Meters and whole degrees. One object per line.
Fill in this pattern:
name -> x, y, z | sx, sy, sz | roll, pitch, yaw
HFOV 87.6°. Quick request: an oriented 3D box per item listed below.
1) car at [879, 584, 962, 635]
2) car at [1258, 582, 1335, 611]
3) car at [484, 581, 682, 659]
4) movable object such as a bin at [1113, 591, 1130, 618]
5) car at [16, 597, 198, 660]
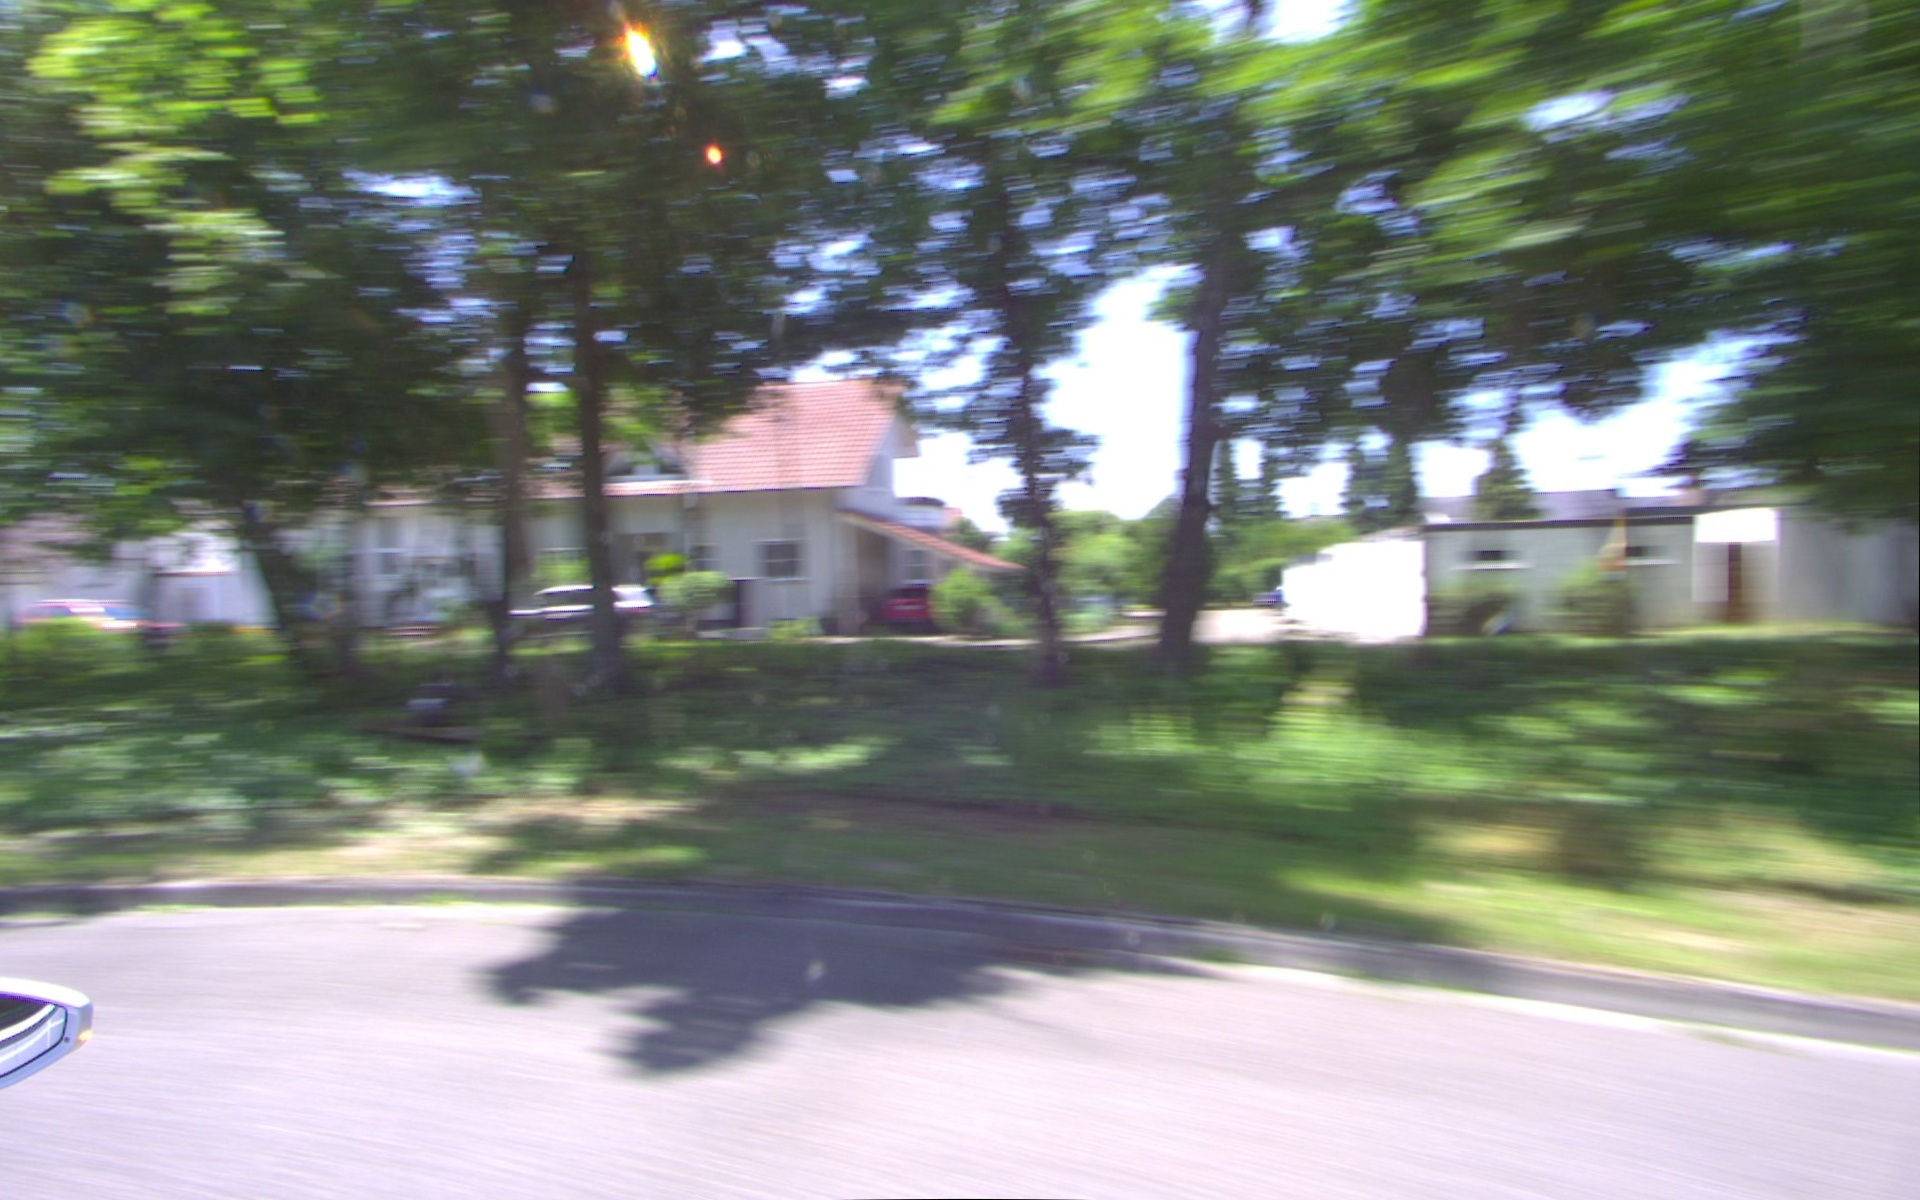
car -> -1.138, 0.242, 30.296 | 1.653, 1.404, 3.690 | -1, 1, 12
car -> 15.996, -0.170, 47.655 | 3.216, 1.270, 1.572 | -1, 1, 8
car -> -8.897, 0.464, 23.770 | 4.064, 1.728, 1.665 | -1, 1, 8
movable object such as a bin -> 6.758, 0.177, 41.871 | 0.646, 1.127, 0.457 | -1, 2, 8
car -> -23.085, 0.763, 27.140 | 3.951, 1.623, 1.664 | -1, 1, 13
